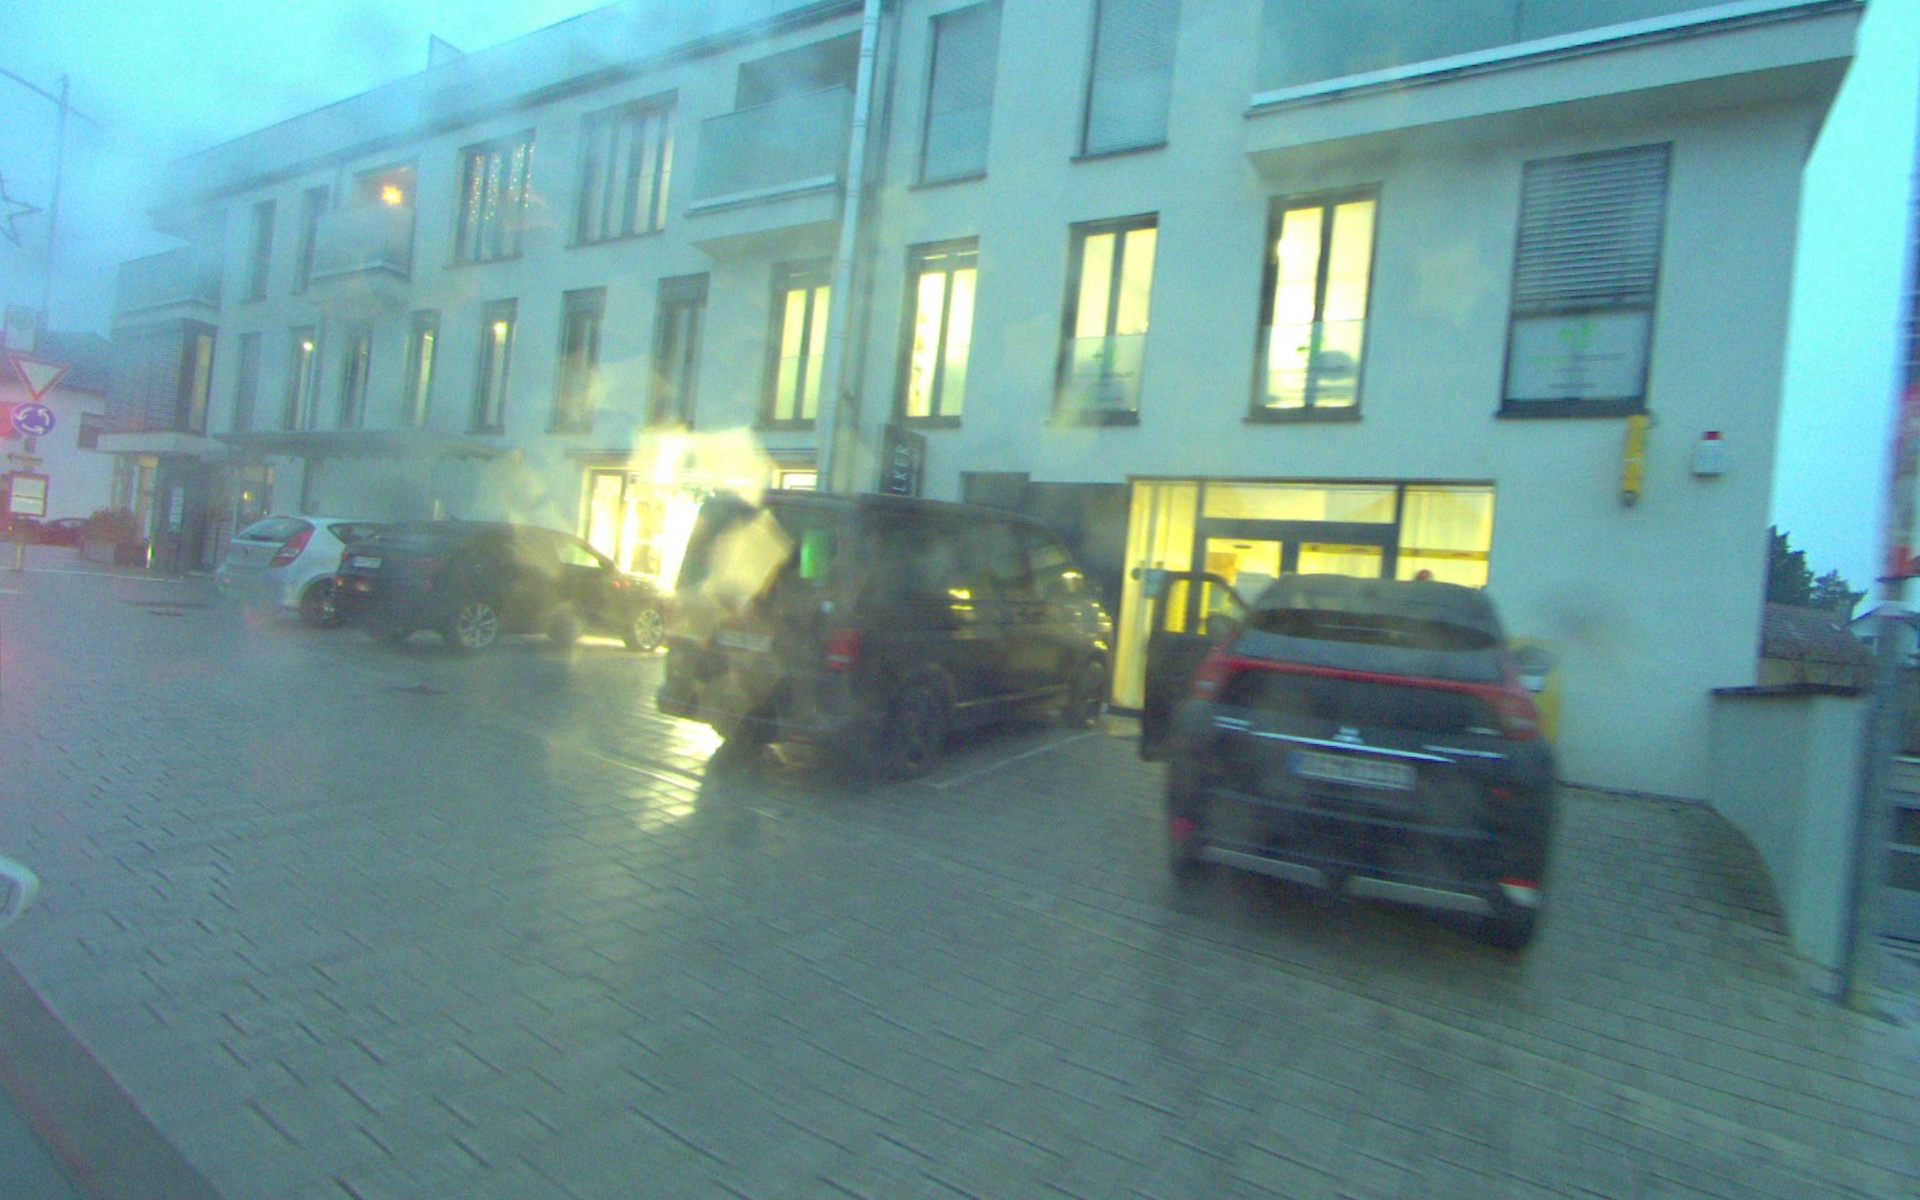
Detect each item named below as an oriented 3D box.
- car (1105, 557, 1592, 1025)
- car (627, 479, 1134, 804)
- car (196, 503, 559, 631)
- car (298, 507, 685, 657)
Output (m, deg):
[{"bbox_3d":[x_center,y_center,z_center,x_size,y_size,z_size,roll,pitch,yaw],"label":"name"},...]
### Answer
[{"bbox_3d":[2.417,0.665,6.165,1.771,1.663,4.175,7,6,25],"label":"car"},{"bbox_3d":[-0.332,0.172,8.537,1.917,1.948,4.560,6,4,31],"label":"car"},{"bbox_3d":[-8.156,-0.386,14.538,1.761,1.479,4.211,6,1,27],"label":"car"},{"bbox_3d":[-5.658,-0.168,12.752,1.761,1.479,4.211,6,1,27],"label":"car"}]
